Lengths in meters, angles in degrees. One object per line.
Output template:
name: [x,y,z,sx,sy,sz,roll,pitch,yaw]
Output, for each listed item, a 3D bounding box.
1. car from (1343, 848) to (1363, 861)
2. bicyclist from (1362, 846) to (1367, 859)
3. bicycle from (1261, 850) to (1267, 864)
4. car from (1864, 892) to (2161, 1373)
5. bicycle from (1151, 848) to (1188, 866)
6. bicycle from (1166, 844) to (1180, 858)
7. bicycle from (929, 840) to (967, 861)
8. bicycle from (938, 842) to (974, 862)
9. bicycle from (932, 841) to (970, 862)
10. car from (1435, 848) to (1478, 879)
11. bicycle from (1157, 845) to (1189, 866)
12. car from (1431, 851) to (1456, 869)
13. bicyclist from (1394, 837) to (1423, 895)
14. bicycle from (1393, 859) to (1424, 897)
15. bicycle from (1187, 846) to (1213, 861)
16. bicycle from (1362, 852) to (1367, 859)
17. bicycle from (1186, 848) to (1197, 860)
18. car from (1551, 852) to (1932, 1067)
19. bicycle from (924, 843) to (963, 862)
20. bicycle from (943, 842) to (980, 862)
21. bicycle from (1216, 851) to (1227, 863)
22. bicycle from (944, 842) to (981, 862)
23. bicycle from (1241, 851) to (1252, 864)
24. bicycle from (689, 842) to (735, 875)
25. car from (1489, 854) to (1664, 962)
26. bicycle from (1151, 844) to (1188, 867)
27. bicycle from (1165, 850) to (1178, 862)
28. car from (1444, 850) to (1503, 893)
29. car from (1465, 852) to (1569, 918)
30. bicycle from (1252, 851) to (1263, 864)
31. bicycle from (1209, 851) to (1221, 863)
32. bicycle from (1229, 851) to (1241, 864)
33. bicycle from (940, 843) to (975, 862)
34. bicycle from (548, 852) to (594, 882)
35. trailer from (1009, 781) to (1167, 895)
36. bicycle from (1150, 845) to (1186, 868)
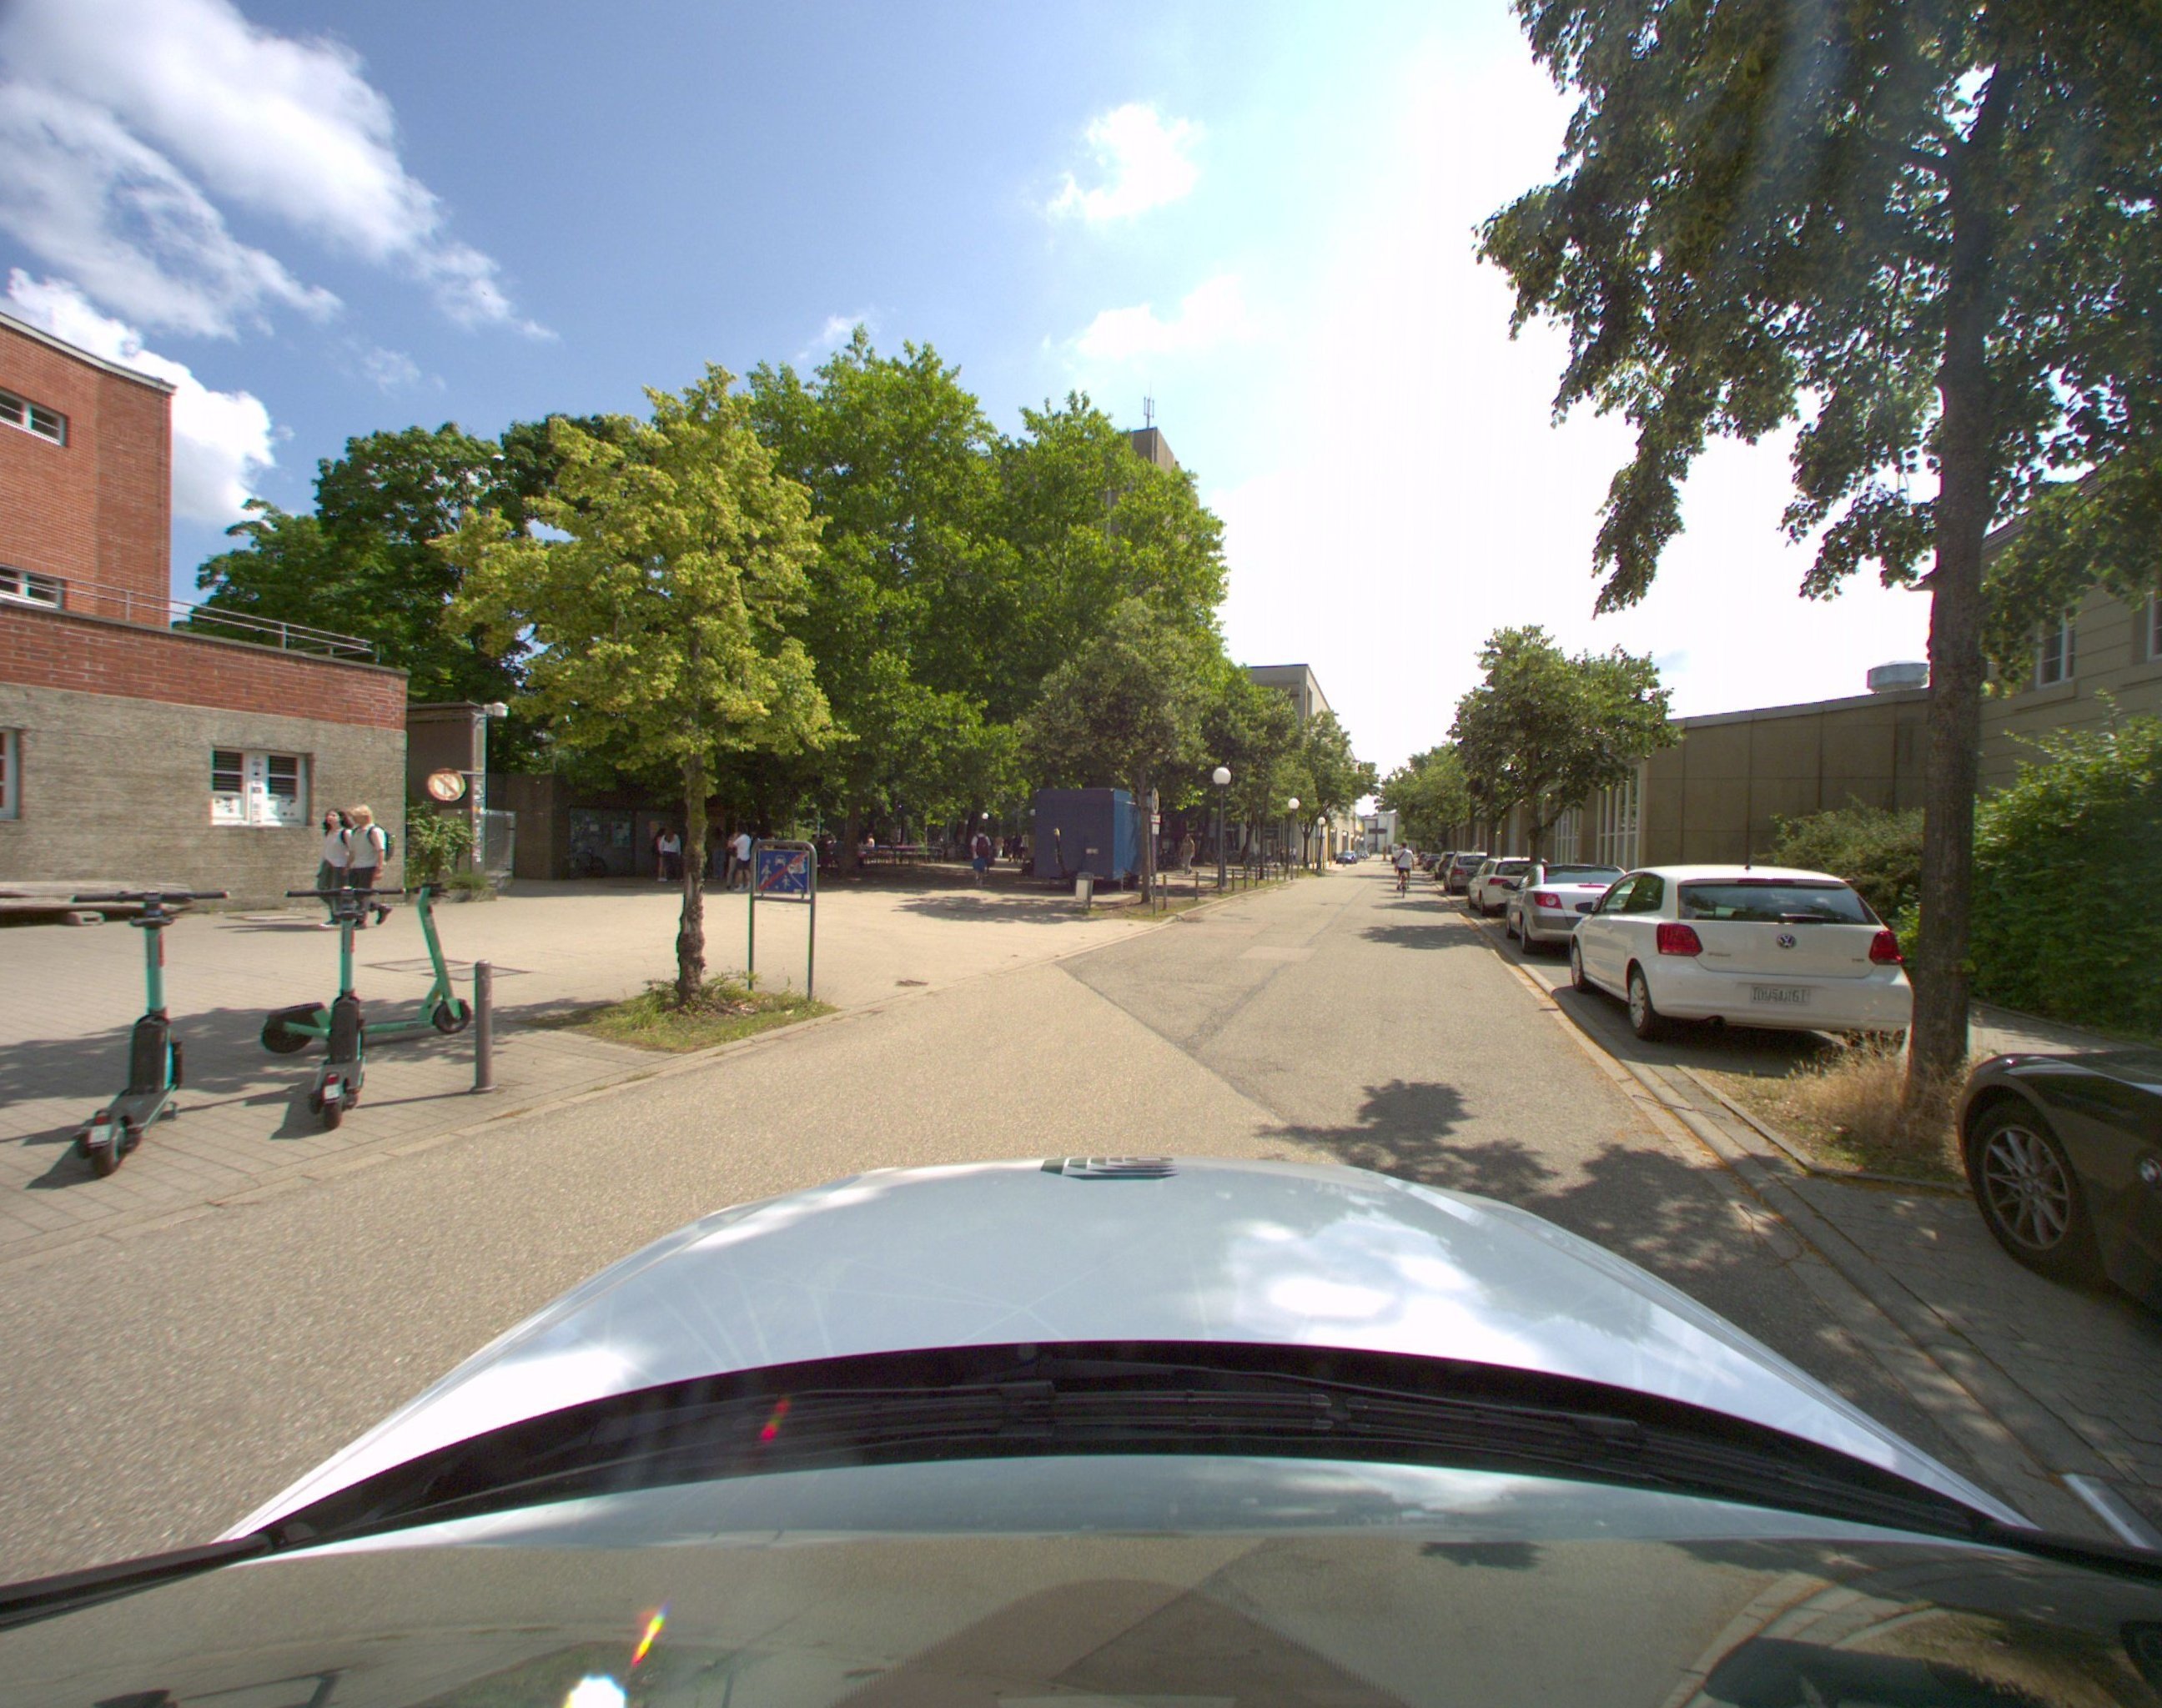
car: [31.091,0.048,93.113,1.751,1.427,4.258,2,0,23]
bicyclist: [42.094,-0.206,120.834,0.705,2.013,1.024,0,0,19]
bicycle: [14.432,0.221,64.294,0.379,1.025,1.820,2,1,10]
car: [3.728,0.853,1.679,1.693,1.280,4.022,1,1,23]
bicycle: [5.427,0.180,49.894,2.146,1.008,0.676,2,1,-9]
bicycle: [8.273,-0.246,73.063,0.521,1.253,2.395,1,1,23]
bicycle: [-7.338,-0.179,44.902,1.994,1.118,0.587,1,1,12]
bicycle: [-7.406,-0.118,48.151,1.994,1.118,0.587,1,1,12]
bicycle: [-7.316,-0.162,45.750,1.994,1.118,0.587,1,1,12]
car: [21.305,0.517,46.335,1.807,1.664,4.606,0,-1,20]
bicycle: [5.173,0.097,45.730,1.765,1.131,0.459,2,1,4]
car: [30.375,0.457,68.326,1.765,1.476,4.485,0,0,22]
bicyclist: [11.532,0.408,28.720,0.866,2.013,0.854,2,1,20]
bicycle: [11.535,0.814,28.754,0.875,1.199,2.763,2,1,20]
bicycle: [9.771,-0.039,66.888,2.015,1.253,0.585,0,1,-11]
bicycle: [42.139,0.210,120.968,0.679,1.129,1.898,1,1,20]
bicycle: [9.579,-0.014,70.295,0.471,1.032,1.860,2,1,22]
car: [5.839,0.740,7.815,1.574,1.466,4.008,1,0,19]
bicycle: [-7.411,-0.088,43.918,1.994,1.008,0.587,1,1,12]
bicycle: [-6.919,-0.125,47.245,1.994,1.118,0.587,1,1,12]
bicycle: [12.418,0.262,72.022,0.547,1.086,1.983,3,1,22]
bicycle: [-6.728,-0.137,46.408,1.994,1.118,0.587,1,1,12]
bicycle: [14.522,0.301,71.244,0.547,1.086,1.983,3,1,22]
bicycle: [-12.305,0.152,27.173,1.351,1.077,0.414,2,-2,-22]
car: [7.817,0.740,13.225,1.633,1.390,4.009,0,1,19]
bicycle: [5.240,0.087,48.321,2.045,1.234,0.810,3,1,4]
bicycle: [8.179,0.183,73.604,0.547,1.086,1.983,3,1,22]
car: [15.314,0.635,31.909,1.690,1.574,4.161,0,0,20]
car: [11.112,0.709,21.048,1.711,1.467,4.695,0,1,20]
bicycle: [15.329,0.312,70.718,0.547,1.086,1.983,3,1,22]
bicycle: [11.871,0.250,72.165,0.547,1.086,1.983,3,1,22]
bicycle: [13.604,0.291,71.923,0.547,1.086,1.983,3,1,22]
bicycle: [-7.421,-0.099,48.983,1.994,1.118,0.587,1,1,12]
bicycle: [-15.506,0.376,24.785,0.301,0.883,1.238,1,0,23]
trailer: [0.451,-0.492,25.262,2.673,3.026,6.299,2,1,21]
bicycle: [5.051,0.120,47.287,2.045,1.234,0.810,2,1,4]
